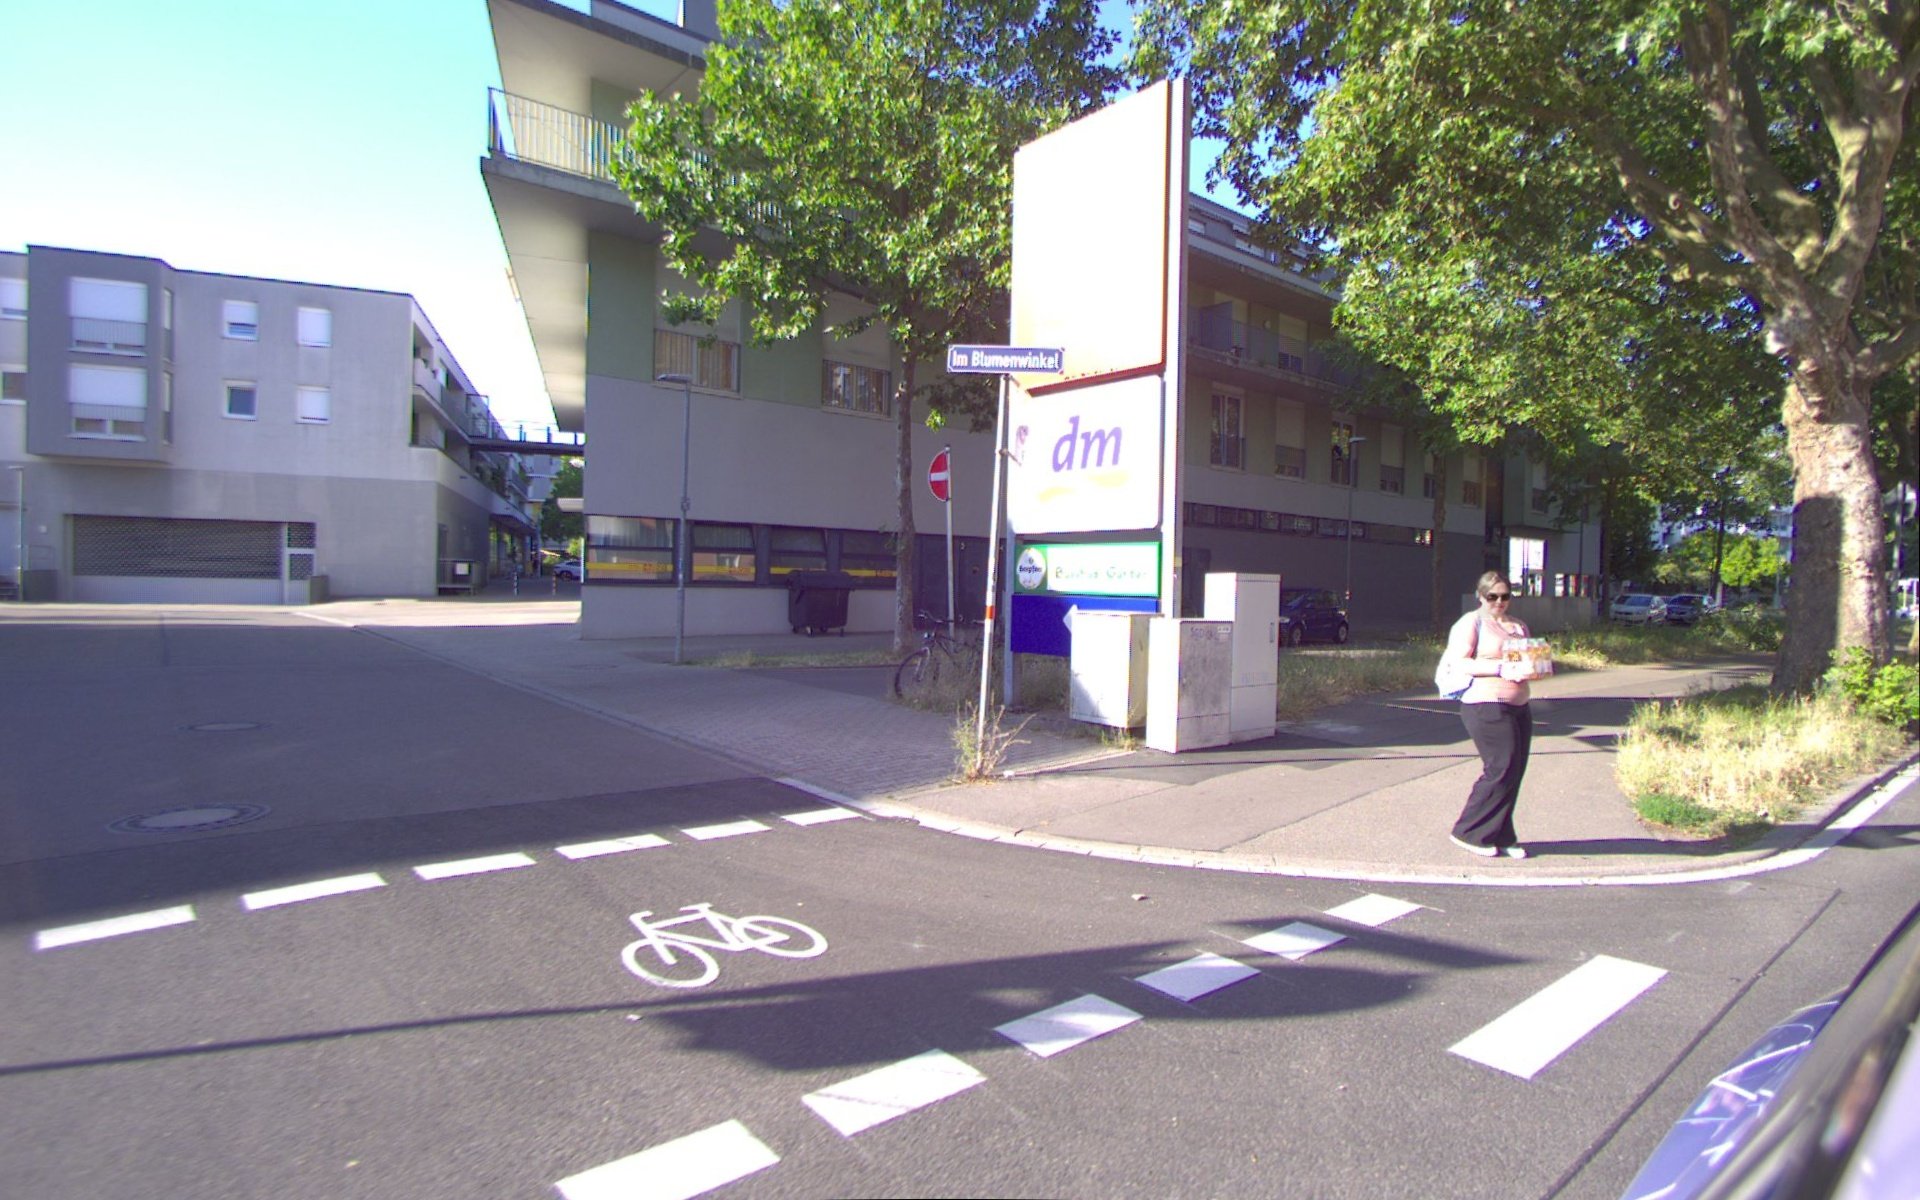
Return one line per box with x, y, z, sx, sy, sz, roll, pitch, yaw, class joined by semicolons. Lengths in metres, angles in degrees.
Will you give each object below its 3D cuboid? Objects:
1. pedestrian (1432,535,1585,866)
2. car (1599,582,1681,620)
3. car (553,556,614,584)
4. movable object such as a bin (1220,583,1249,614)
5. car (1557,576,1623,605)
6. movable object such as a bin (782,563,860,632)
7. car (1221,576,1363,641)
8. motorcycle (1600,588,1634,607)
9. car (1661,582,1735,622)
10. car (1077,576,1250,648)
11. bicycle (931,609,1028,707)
3.202;0.533;5.977;0.657;1.783;0.763;3;2;26;pedestrian
29.965;0.019;44.538;4.242;1.562;1.863;0;2;-40;car
-26.228;-2.085;70.553;3.916;1.896;1.783;1;1;-20;car
8.960;-0.049;33.090;0.651;0.955;0.630;0;2;-39;movable object such as a bin
38.715;-0.596;62.152;3.483;1.473;1.679;4;0;-23;car
-3.107;-0.079;22.587;1.378;1.481;1.199;1;1;-28;movable object such as a bin
8.825;0.201;26.805;3.692;1.572;1.863;0;2;-40;car
46.221;-0.168;71.193;2.269;1.263;0.953;1;1;-27;motorcycle
36.033;0.086;49.359;4.242;1.793;1.909;0;2;-40;car
4.775;0.242;23.475;4.052;1.487;1.862;0;2;-42;car
0.248;0.640;11.735;0.381;1.016;1.468;2;2;33;bicycle
